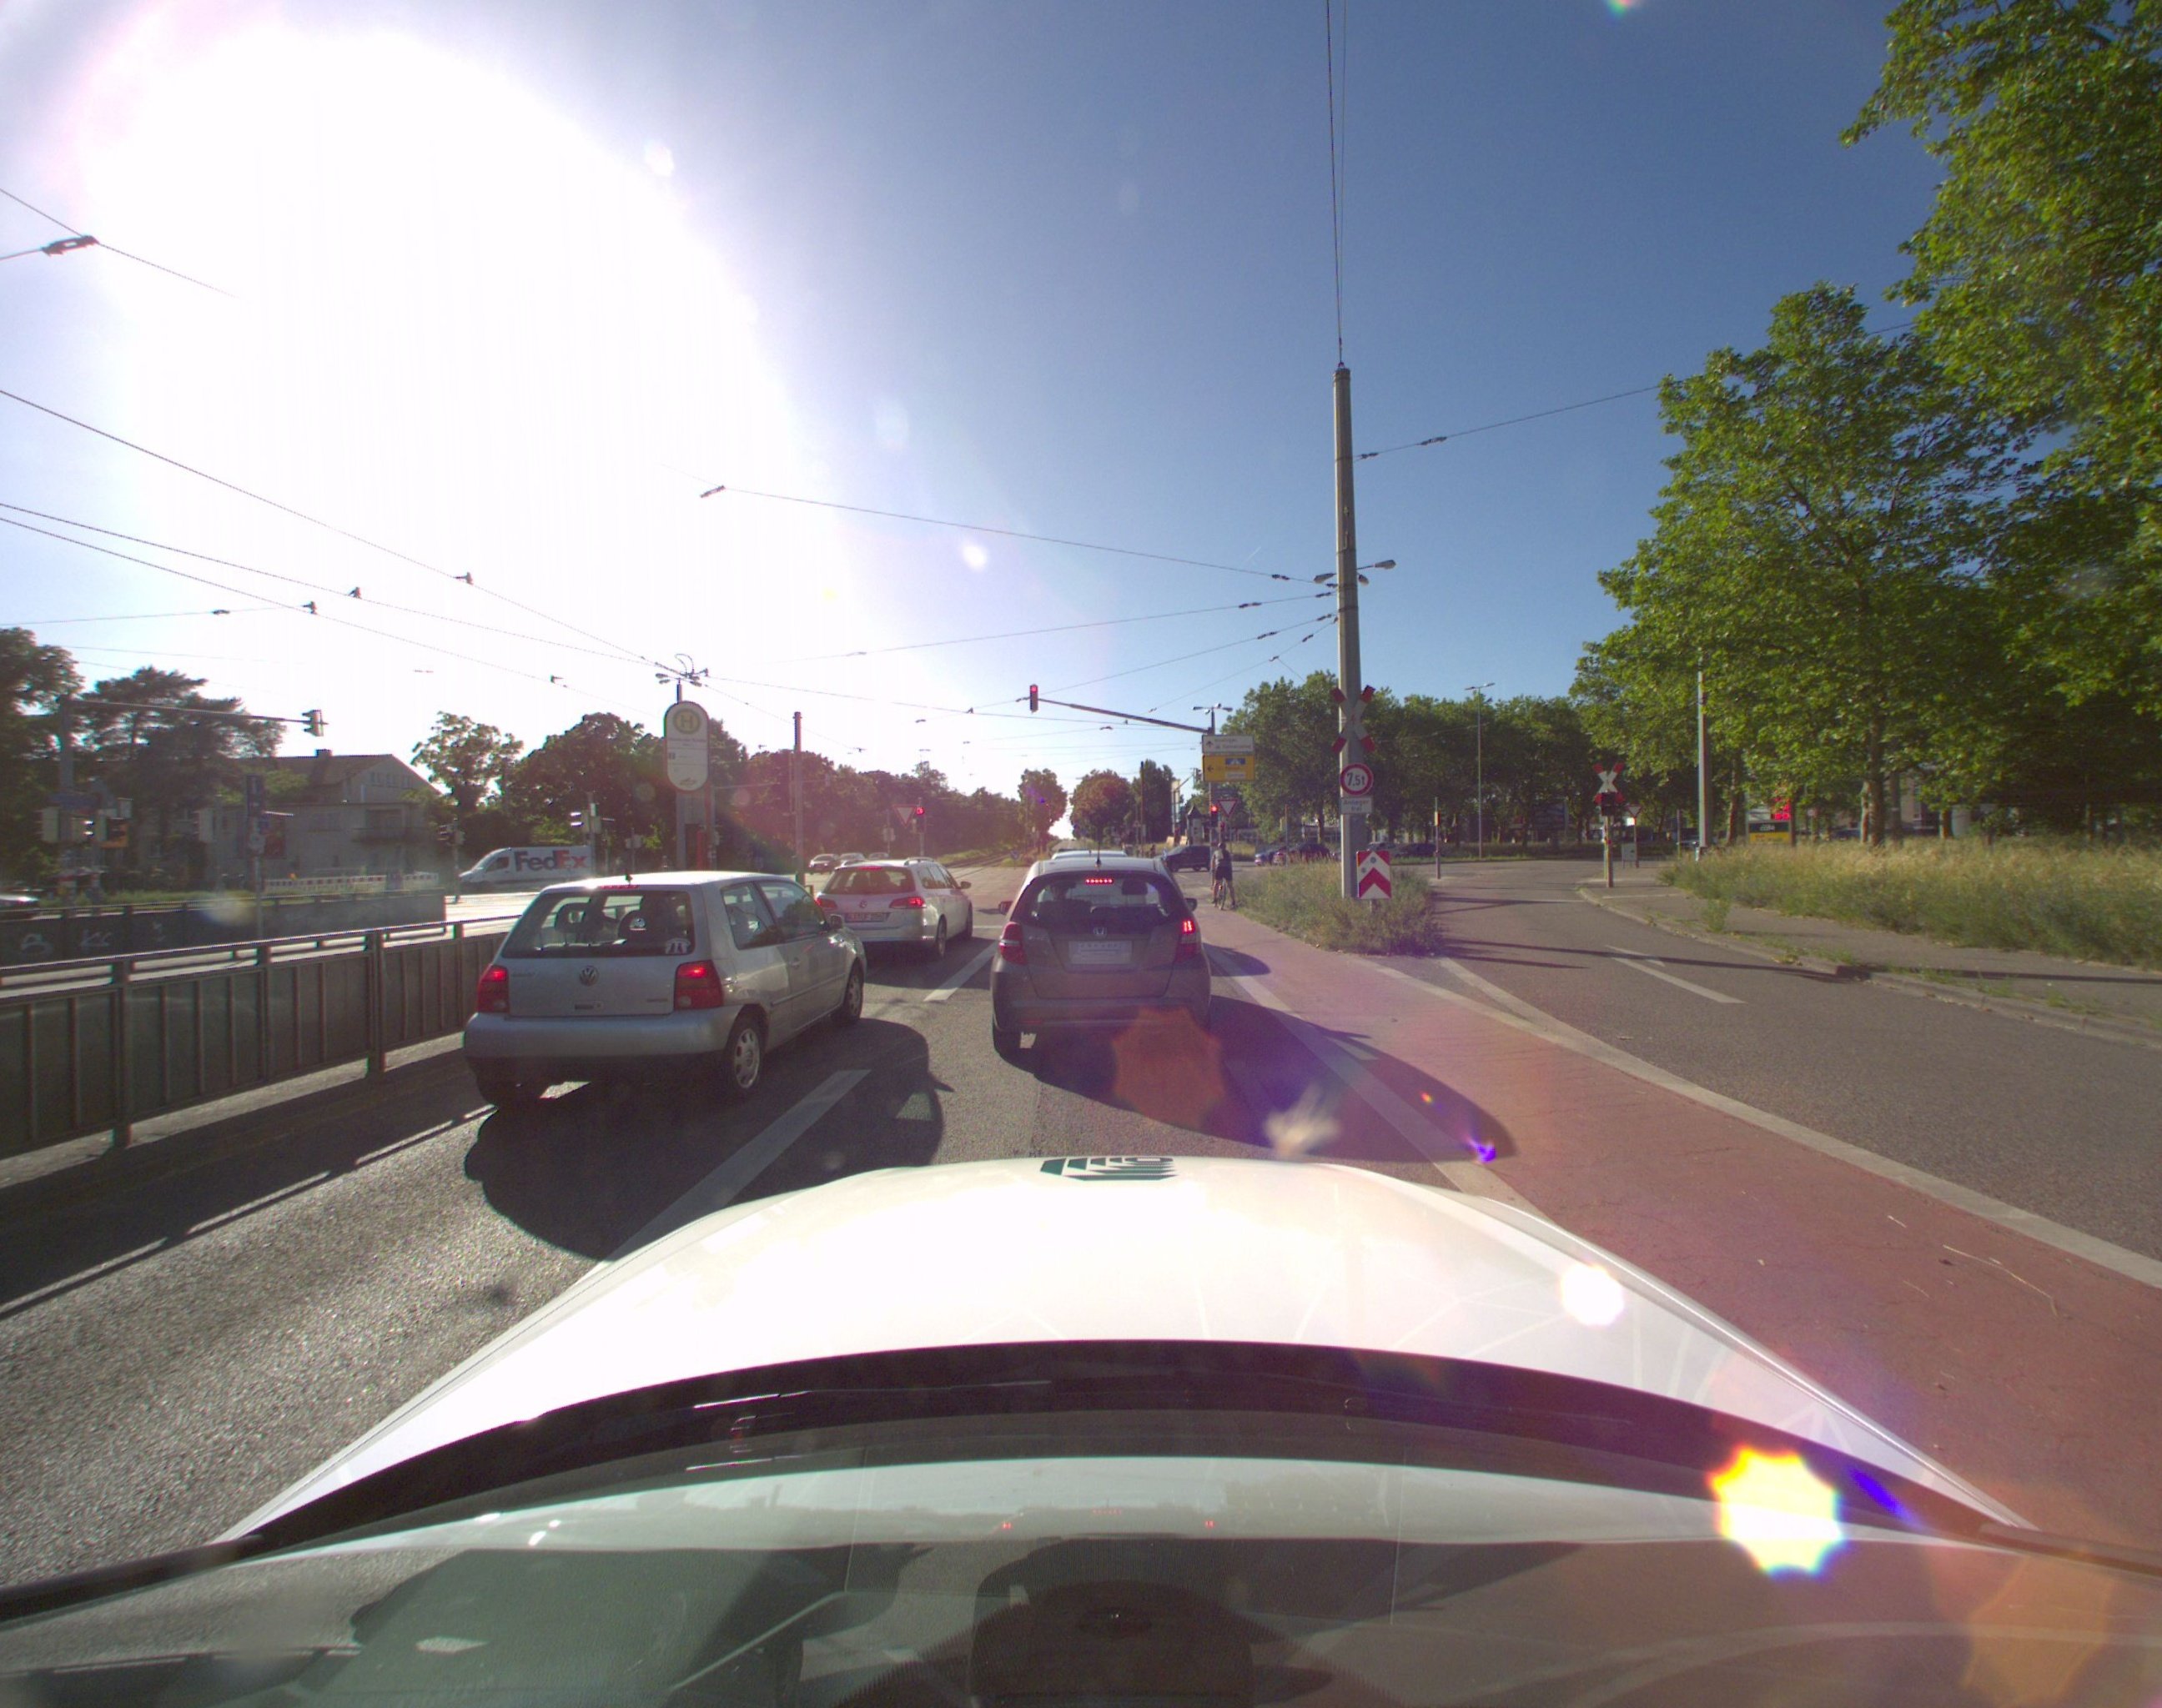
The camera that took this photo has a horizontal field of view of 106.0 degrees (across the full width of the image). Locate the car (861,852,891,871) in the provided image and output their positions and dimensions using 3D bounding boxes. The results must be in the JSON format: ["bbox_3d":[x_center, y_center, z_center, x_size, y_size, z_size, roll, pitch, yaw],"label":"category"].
[{"bbox_3d":[-18.791,0.676,74.742,1.991,1.604,4.745,0,0,-6],"label":"car"}]

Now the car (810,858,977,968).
[{"bbox_3d":[-2.781,0.800,12.972,1.613,1.457,4.086,-1,0,1],"label":"car"}]

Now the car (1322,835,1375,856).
[{"bbox_3d":[20.631,-0.654,62.756,3.757,1.570,1.480,-2,0,-21],"label":"car"}]

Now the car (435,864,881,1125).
[{"bbox_3d":[-2.831,0.819,6.324,1.613,1.417,3.352,-2,0,1],"label":"car"}]

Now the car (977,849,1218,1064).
[{"bbox_3d":[0.106,0.709,7.482,1.663,1.462,3.585,-1,0,-1],"label":"car"}]

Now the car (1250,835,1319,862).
[{"bbox_3d":[15.020,-0.378,60.076,4.705,1.879,1.986,0,-1,-22],"label":"car"}]

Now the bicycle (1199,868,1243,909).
[{"bbox_3d":[3.628,0.867,21.293,0.719,0.989,2.876,0,0,1],"label":"bicycle"}]

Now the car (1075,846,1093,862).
[{"bbox_3d":[0.246,-0.015,75.965,1.519,1.378,3.673,-2,0,-2],"label":"car"}]

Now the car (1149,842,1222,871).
[{"bbox_3d":[6.139,0.154,47.977,3.984,1.544,1.582,-2,0,-20],"label":"car"}]

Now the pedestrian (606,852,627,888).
[{"bbox_3d":[-26.540,0.931,46.539,0.748,2.013,0.788,-2,0,-11],"label":"pedestrian"}]

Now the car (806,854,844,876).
[{"bbox_3d":[-19.026,0.813,60.693,1.829,1.548,3.993,-2,0,-5],"label":"car"}]

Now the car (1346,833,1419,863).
[{"bbox_3d":[21.948,-0.451,59.242,4.906,2.013,1.986,-2,0,-22],"label":"car"}]

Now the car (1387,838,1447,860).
[{"bbox_3d":[26.857,-0.418,65.036,4.526,1.574,1.681,-2,0,-21],"label":"car"}]

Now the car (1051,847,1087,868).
[{"bbox_3d":[-0.858,0.225,60.069,1.698,1.478,4.014,-2,0,12],"label":"car"}]

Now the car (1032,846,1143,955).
[{"bbox_3d":[0.142,0.680,14.122,1.605,1.562,4.289,-1,0,1],"label":"car"}]

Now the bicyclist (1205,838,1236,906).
[{"bbox_3d":[3.627,0.460,21.215,0.663,1.716,0.948,0,-1,1],"label":"bicyclist"}]

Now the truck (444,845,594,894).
[{"bbox_3d":[-32.323,0.810,47.138,1.974,2.565,6.867,-1,0,34],"label":"truck"}]

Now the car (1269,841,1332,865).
[{"bbox_3d":[15.010,-0.088,55.783,4.002,1.531,1.594,-2,0,-22],"label":"car"}]

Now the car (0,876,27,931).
[{"bbox_3d":[-32.030,1.447,21.484,4.844,1.497,1.771,-2,0,-25],"label":"car"}]

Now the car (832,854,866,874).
[{"bbox_3d":[-18.924,0.821,66.486,1.829,1.548,4.277,-2,0,-5],"label":"car"}]

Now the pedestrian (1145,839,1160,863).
[{"bbox_3d":[5.539,-0.249,62.934,0.856,1.836,0.784,-2,0,-24],"label":"pedestrian"}]

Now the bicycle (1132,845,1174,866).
[{"bbox_3d":[5.604,0.117,62.945,3.218,1.574,0.815,-2,0,-24],"label":"bicycle"}]

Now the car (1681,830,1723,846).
[{"bbox_3d":[62.118,-1.575,81.473,4.006,1.501,1.580,-2,0,-25],"label":"car"}]
